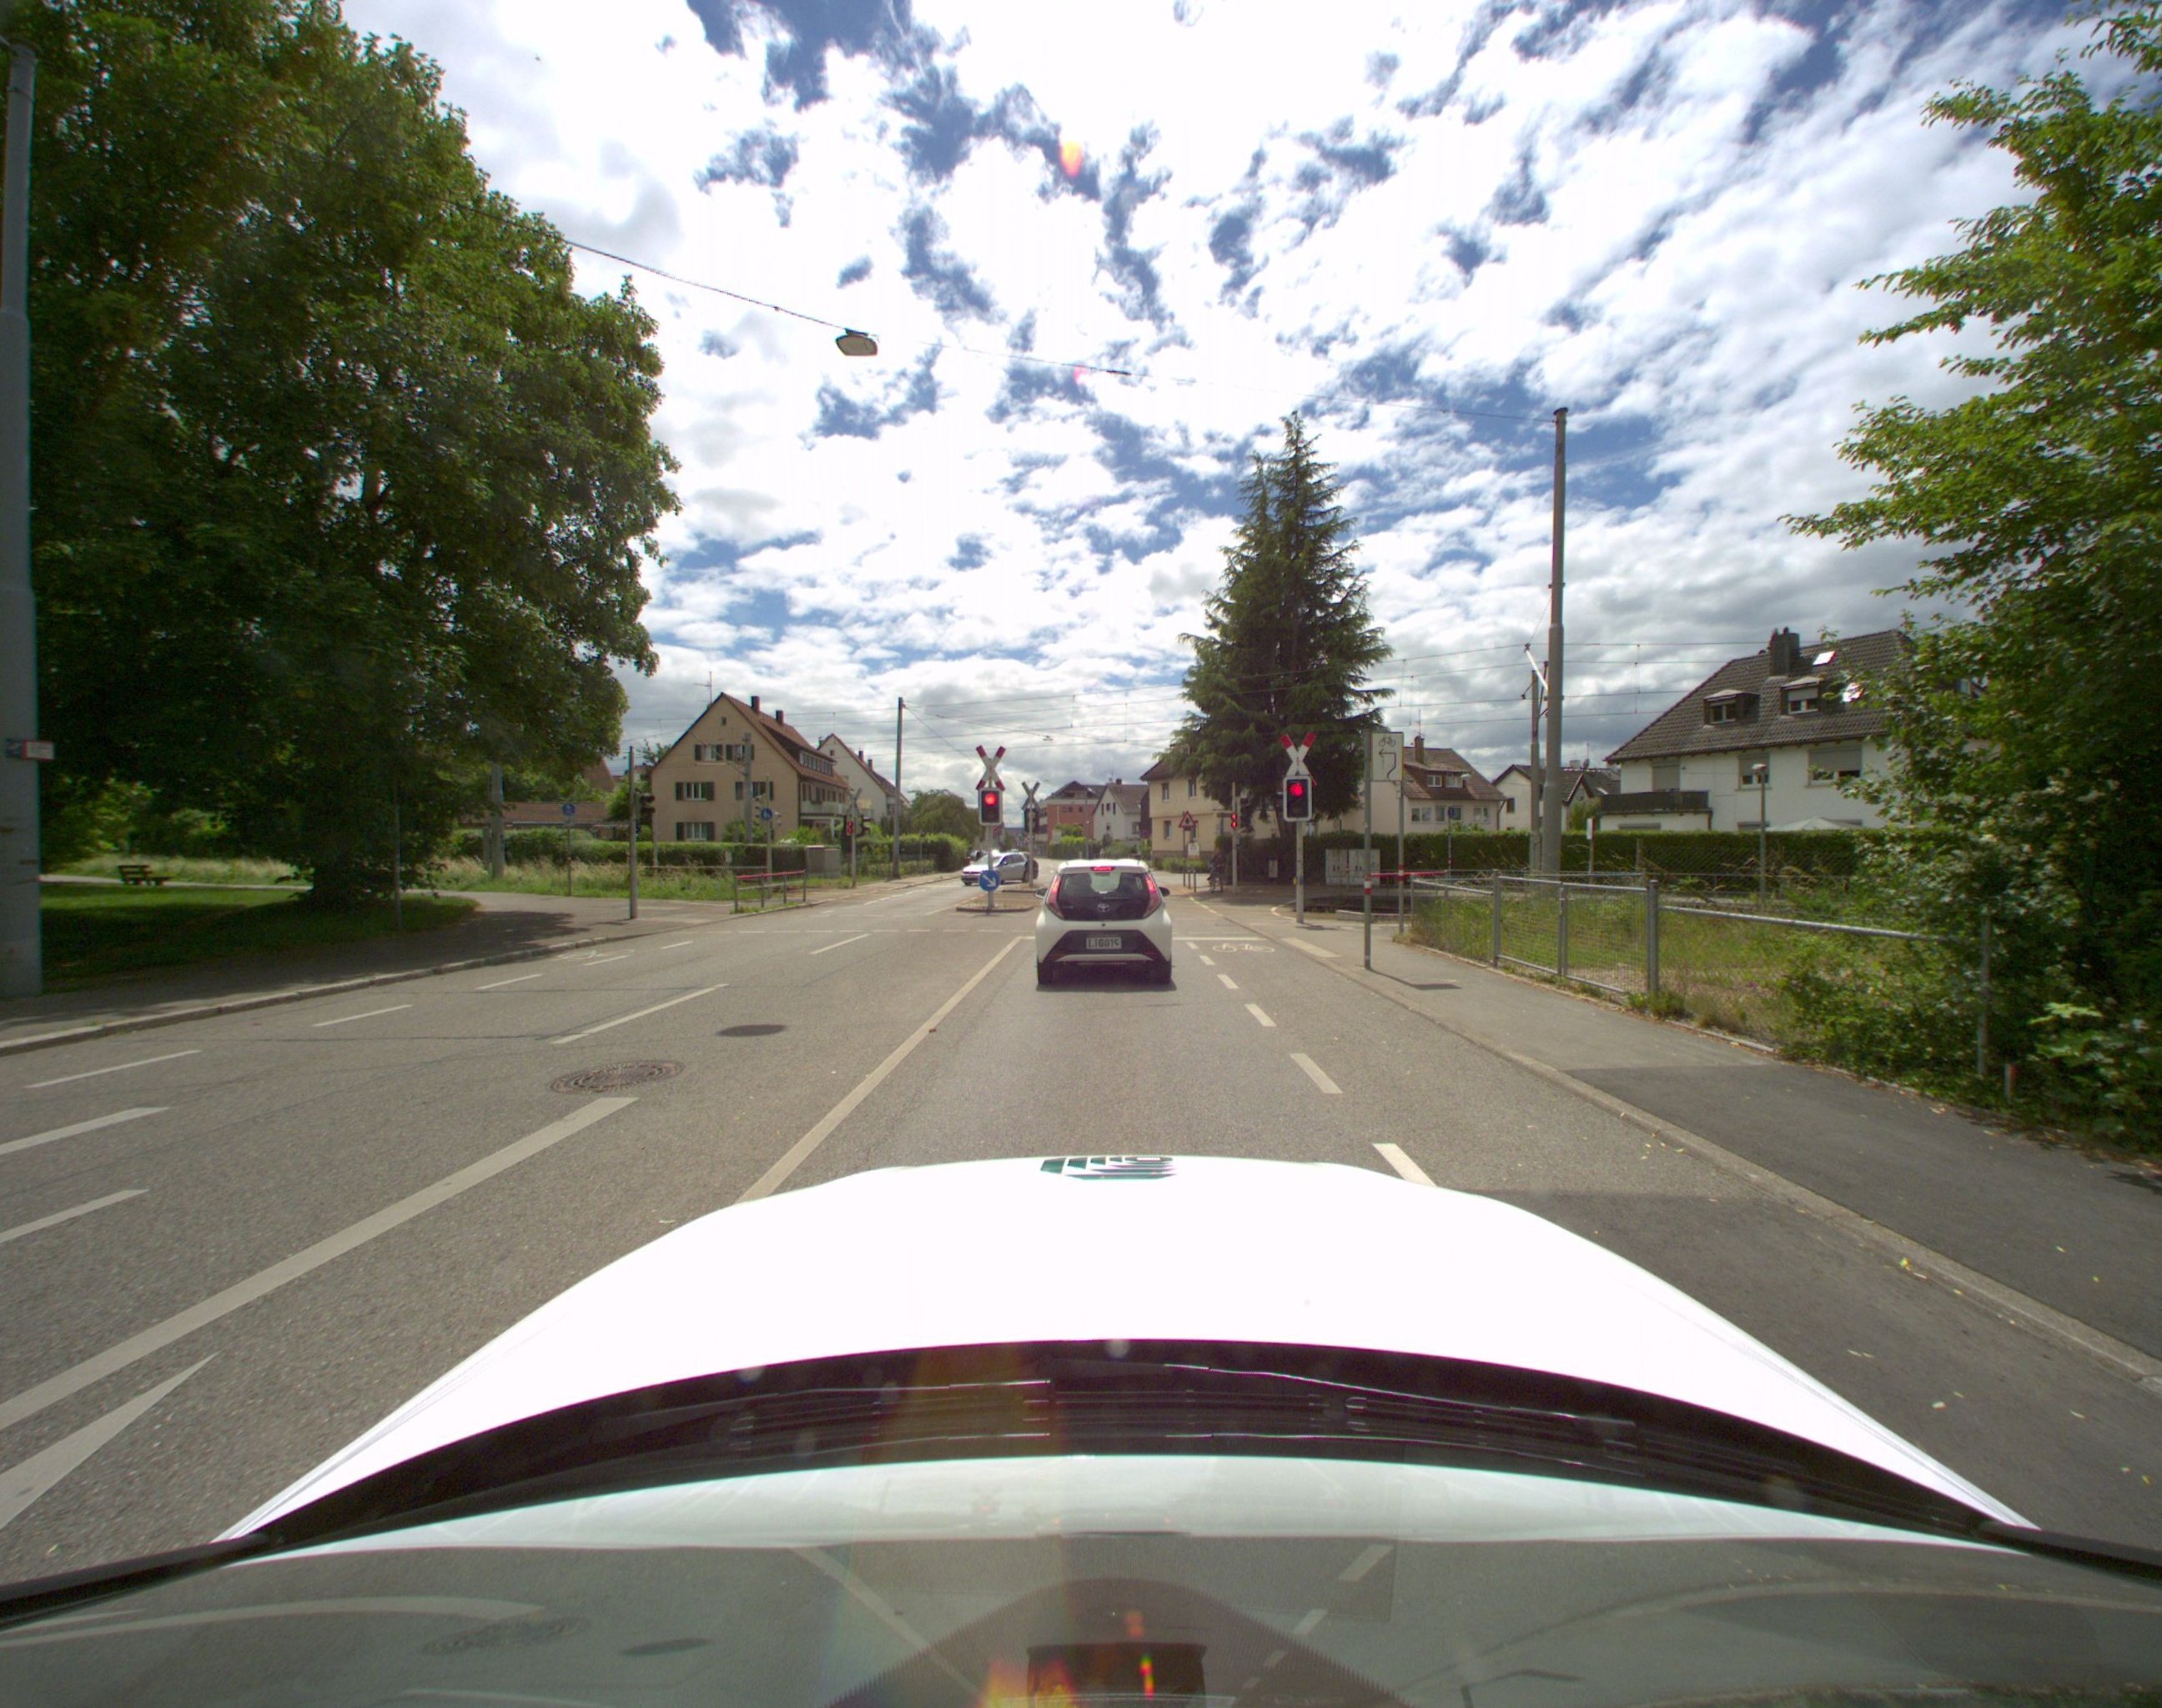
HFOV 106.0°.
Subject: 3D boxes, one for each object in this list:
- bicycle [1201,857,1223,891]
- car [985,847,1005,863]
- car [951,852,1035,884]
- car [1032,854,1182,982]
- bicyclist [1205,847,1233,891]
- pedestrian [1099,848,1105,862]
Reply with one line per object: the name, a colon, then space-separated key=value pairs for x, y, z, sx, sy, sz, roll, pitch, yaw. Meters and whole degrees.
bicycle: x=4.921 y=0.749 z=30.675 sx=0.456 sy=1.172 sz=1.477 roll=-3 pitch=2 yaw=-4
car: x=-9.493 y=0.150 z=90.192 sx=1.990 sy=1.719 sz=3.994 roll=0 pitch=0 yaw=-5
car: x=-4.157 y=0.657 z=39.080 sx=1.887 sy=1.441 sz=4.124 roll=0 pitch=0 yaw=30
car: x=0.250 y=0.735 z=11.162 sx=1.716 sy=1.442 sz=3.706 roll=0 pitch=0 yaw=-2
bicyclist: x=5.174 y=0.550 z=30.586 sx=0.839 sy=1.553 sz=0.755 roll=-3 pitch=2 yaw=-4
pedestrian: x=2.381 y=0.105 z=91.855 sx=0.723 sy=1.576 sz=0.804 roll=0 pitch=0 yaw=1
